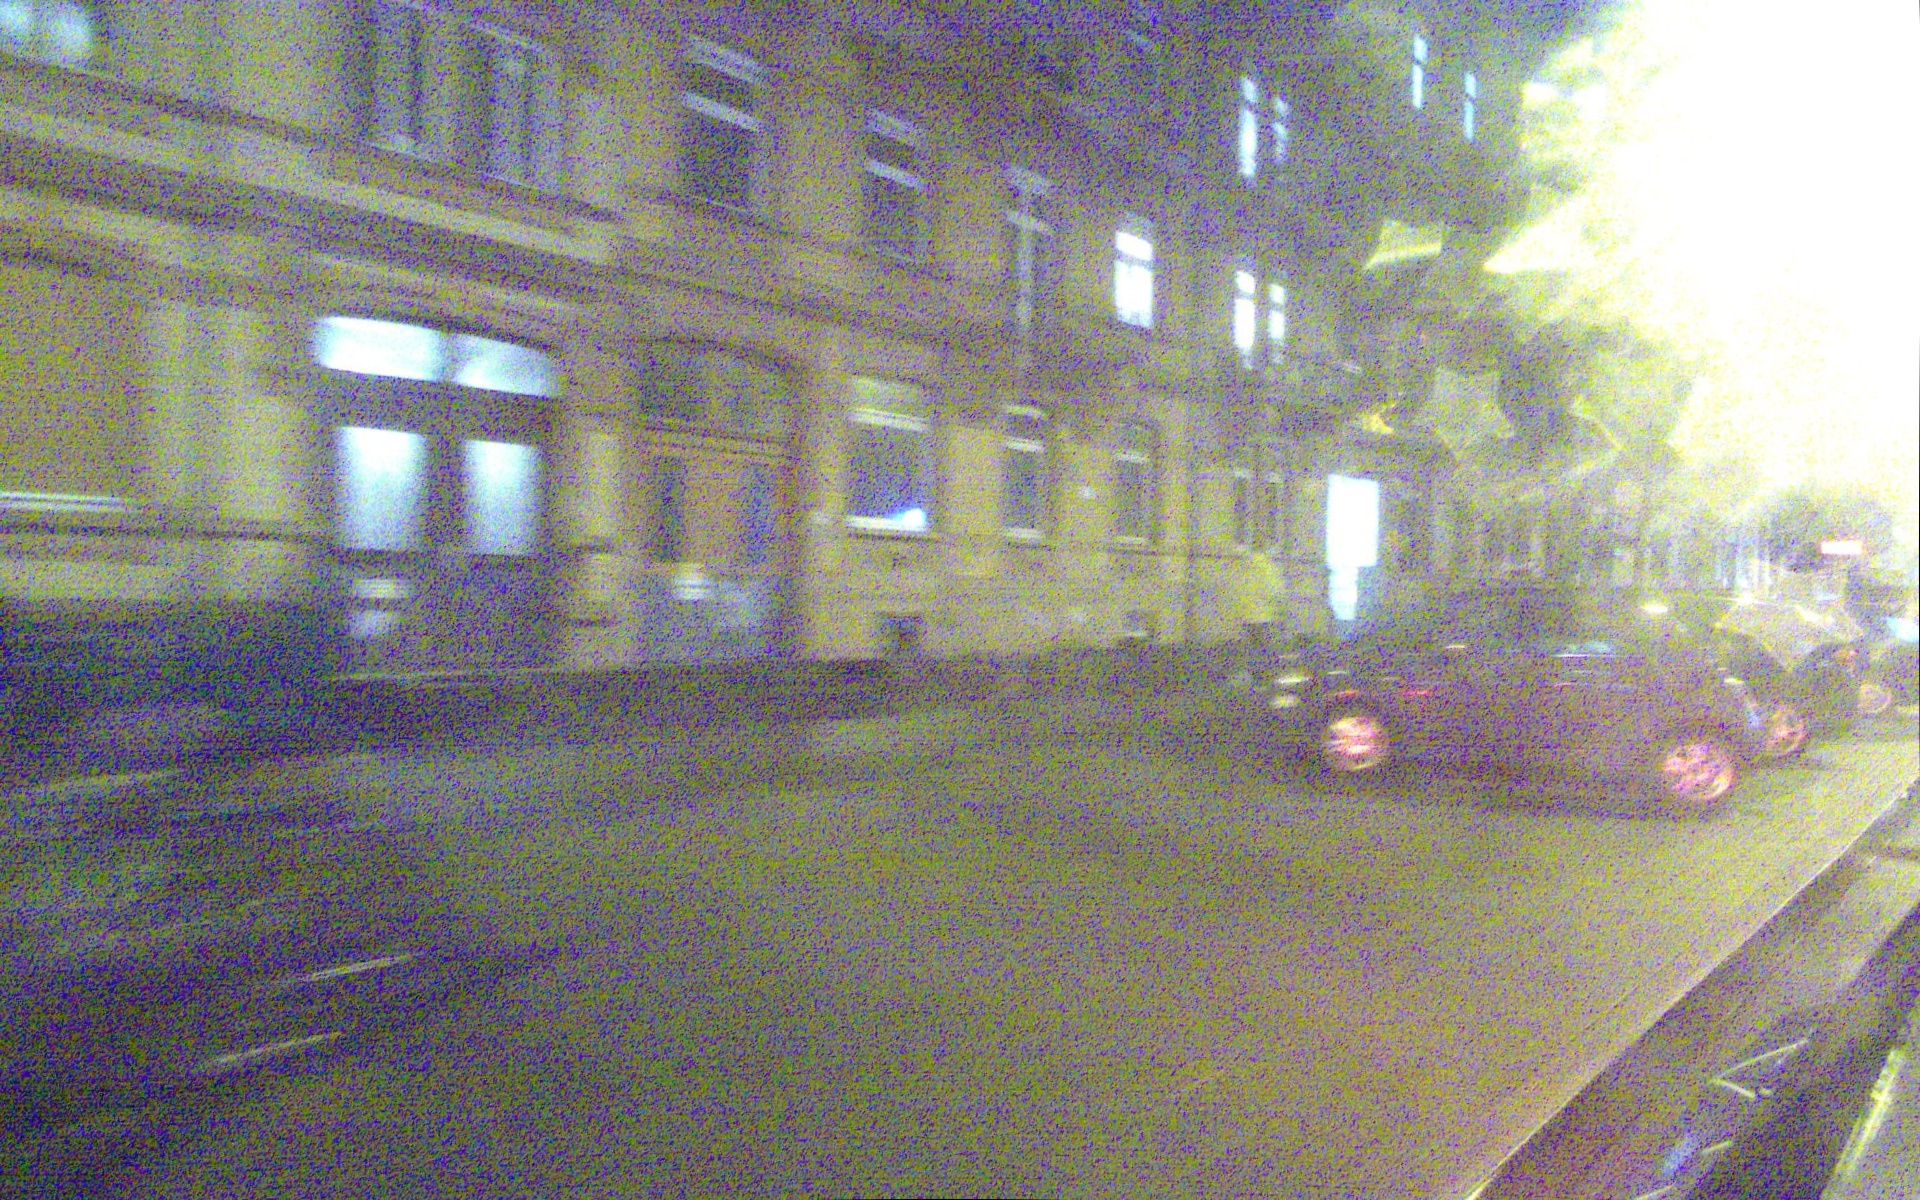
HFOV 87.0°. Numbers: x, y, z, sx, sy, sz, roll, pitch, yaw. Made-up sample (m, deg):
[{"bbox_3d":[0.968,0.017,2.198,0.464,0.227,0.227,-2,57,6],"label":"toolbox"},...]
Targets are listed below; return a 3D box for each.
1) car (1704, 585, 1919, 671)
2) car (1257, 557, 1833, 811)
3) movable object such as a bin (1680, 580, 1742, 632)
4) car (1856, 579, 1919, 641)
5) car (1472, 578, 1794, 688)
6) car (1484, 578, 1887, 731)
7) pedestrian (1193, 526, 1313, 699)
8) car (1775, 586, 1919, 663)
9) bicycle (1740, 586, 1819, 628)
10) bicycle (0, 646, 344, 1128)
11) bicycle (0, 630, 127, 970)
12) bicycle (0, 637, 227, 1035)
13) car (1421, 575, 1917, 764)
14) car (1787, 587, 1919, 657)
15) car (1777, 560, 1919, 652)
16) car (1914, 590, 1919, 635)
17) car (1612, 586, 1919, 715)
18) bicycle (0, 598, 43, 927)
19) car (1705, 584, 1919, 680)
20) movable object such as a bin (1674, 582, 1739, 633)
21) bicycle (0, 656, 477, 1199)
[{"bbox_3d":[18.110,0.537,20.855,3.939,1.571,1.993,2,2,12],"label":"car"},{"bbox_3d":[4.293,0.526,8.056,3.602,1.600,1.585,2,2,16],"label":"car"},{"bbox_3d":[23.018,0.169,31.034,0.981,1.468,1.212,0,5,-40],"label":"movable object such as a bin"},{"bbox_3d":[31.487,0.384,32.081,4.186,1.881,1.710,3,3,15],"label":"car"},{"bbox_3d":[10.674,0.458,16.391,3.948,1.470,1.678,3,2,19],"label":"car"},{"bbox_3d":[8.404,0.554,12.118,3.610,1.600,1.581,1,0,22],"label":"car"},{"bbox_3d":[3.374,0.116,11.654,0.976,1.878,0.870,0,3,-43],"label":"pedestrian"},{"bbox_3d":[20.610,0.543,22.421,3.608,1.561,1.550,2,2,20],"label":"car"},{"bbox_3d":[29.246,0.234,36.154,0.767,1.351,1.980,1,4,-34],"label":"bicycle"},{"bbox_3d":[-2.566,0.736,2.564,0.513,1.089,1.817,2,2,18],"label":"bicycle"},{"bbox_3d":[-3.547,0.689,2.917,0.441,1.089,1.817,2,2,18],"label":"bicycle"},{"bbox_3d":[-3.081,0.709,2.744,0.513,1.089,1.817,2,2,18],"label":"bicycle"},{"bbox_3d":[6.662,0.586,9.902,3.595,1.600,1.588,1,0,11],"label":"car"},{"bbox_3d":[22.604,0.523,24.681,3.350,1.561,1.571,2,2,14],"label":"car"},{"bbox_3d":[24.670,0.157,26.476,4.656,2.275,1.939,2,2,14],"label":"car"},{"bbox_3d":[39.969,0.517,39.124,4.059,1.787,1.845,0,0,23],"label":"car"},{"bbox_3d":[11.131,0.620,13.554,3.631,1.478,1.597,2,2,15],"label":"car"},{"bbox_3d":[-3.990,0.618,3.066,0.441,1.205,1.817,2,2,18],"label":"bicycle"},{"bbox_3d":[16.500,0.563,18.687,3.943,1.571,1.797,2,2,15],"label":"car"},{"bbox_3d":[22.254,0.215,30.169,0.981,1.388,1.259,0,5,-40],"label":"movable object such as a bin"},{"bbox_3d":[-2.043,0.758,2.386,0.513,1.089,1.817,2,2,18],"label":"bicycle"}]
